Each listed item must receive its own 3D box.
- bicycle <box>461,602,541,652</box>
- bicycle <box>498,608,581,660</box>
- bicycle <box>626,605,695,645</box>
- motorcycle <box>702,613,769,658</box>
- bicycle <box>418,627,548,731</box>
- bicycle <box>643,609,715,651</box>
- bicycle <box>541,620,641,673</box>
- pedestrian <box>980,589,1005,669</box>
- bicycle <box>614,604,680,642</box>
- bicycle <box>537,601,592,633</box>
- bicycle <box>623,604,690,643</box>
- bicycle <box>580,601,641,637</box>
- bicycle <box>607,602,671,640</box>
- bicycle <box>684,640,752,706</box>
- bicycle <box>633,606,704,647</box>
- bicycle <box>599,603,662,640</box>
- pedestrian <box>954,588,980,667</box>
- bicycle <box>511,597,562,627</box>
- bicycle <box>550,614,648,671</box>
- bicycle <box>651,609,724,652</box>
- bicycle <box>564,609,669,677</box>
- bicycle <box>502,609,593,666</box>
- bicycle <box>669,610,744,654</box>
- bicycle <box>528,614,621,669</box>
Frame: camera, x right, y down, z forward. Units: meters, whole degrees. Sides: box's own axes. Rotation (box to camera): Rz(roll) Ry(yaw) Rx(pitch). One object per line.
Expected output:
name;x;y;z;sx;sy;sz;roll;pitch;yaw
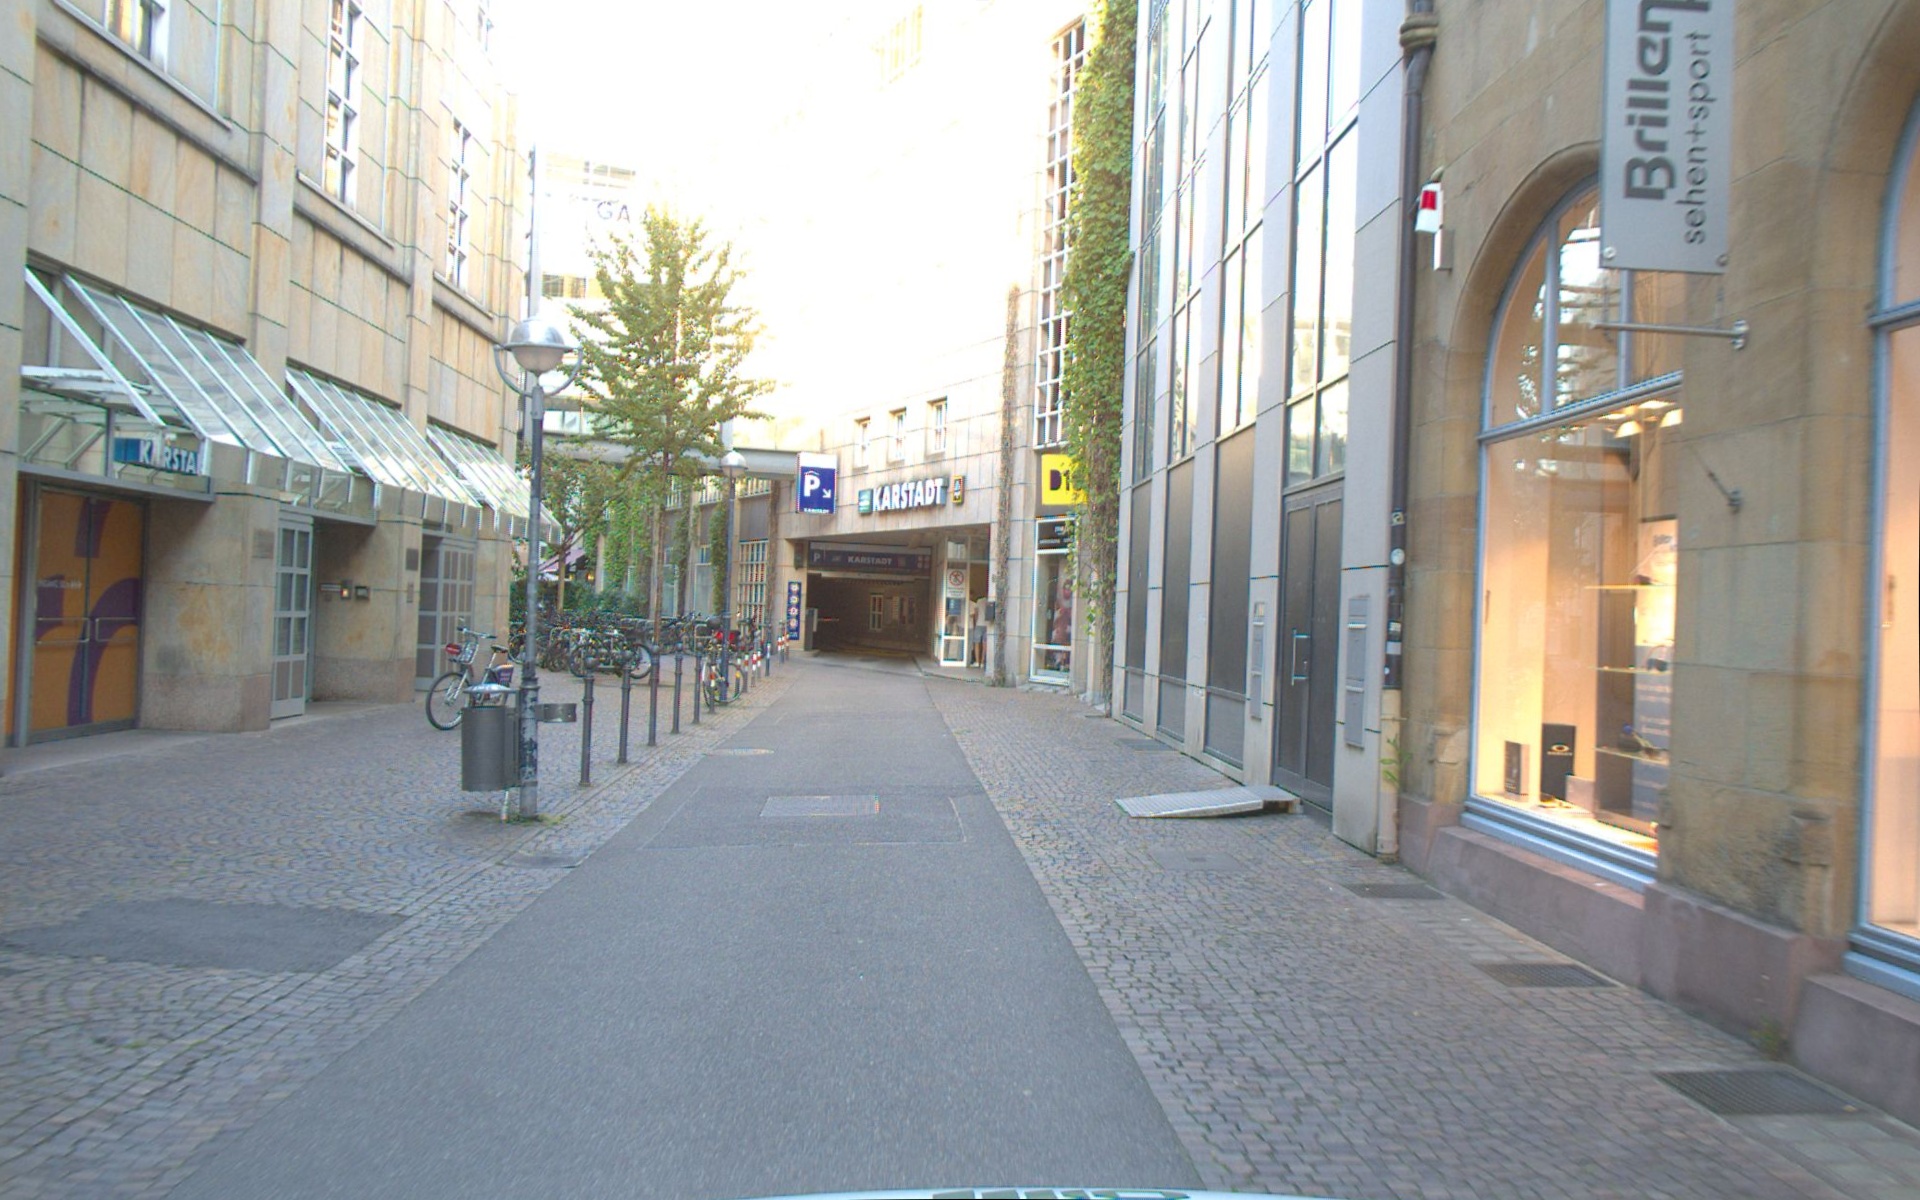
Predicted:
bicycle;-11.685;0.686;42.104;1.885;1.203;0.692;2;-1;-20
bicycle;-10.276;0.832;40.434;1.885;1.203;0.692;2;-1;-20
bicycle;-9.166;0.747;50.598;1.966;1.203;0.797;0;0;-23
motorcycle;-6.081;0.953;44.769;1.720;1.175;0.591;0;0;-20
bicycle;-5.551;0.897;19.351;0.679;1.131;1.778;1;0;12
bicycle;-8.163;0.868;48.066;1.966;1.203;0.797;0;0;-23
bicycle;-7.556;0.957;33.886;1.887;1.011;0.691;2;0;-23
pedestrian;0.775;0.690;39.701;0.531;1.894;0.408;2;0;3
bicycle;-9.932;0.723;52.426;1.966;1.203;0.689;0;0;-23
bicycle;-14.933;0.631;62.478;1.966;1.203;0.689;0;0;-23
bicycle;-9.470;0.727;51.569;1.966;1.203;0.689;0;0;-23
bicycle;-12.052;0.651;56.977;1.966;1.203;0.689;0;0;-23
bicycle;-10.408;0.670;53.636;1.966;1.203;0.689;0;0;-23
bicycle;-3.840;1.141;26.334;0.494;0.983;1.696;1;0;12
bicycle;-8.663;0.781;49.172;1.966;1.203;0.797;0;0;-23
bicycle;-10.899;0.703;54.682;1.966;1.203;0.689;0;0;-23
pedestrian;0.174;0.666;39.848;0.531;1.879;0.408;2;0;3
bicycle;-17.319;0.484;67.644;1.966;1.203;0.689;0;0;-23
bicycle;-7.598;0.895;34.804;1.887;1.121;0.691;2;-1;-23
bicycle;-7.786;0.861;47.206;1.966;1.203;0.691;0;0;-23
bicycle;-6.756;0.845;32.519;1.887;1.283;0.803;2;-1;-23
bicycle;-9.175;0.845;36.801;1.885;1.203;0.692;2;-1;-20
bicycle;-7.113;0.895;46.386;1.966;1.203;0.691;0;0;-23
bicycle;-8.378;0.899;35.946;1.885;1.121;0.692;2;-1;-20
